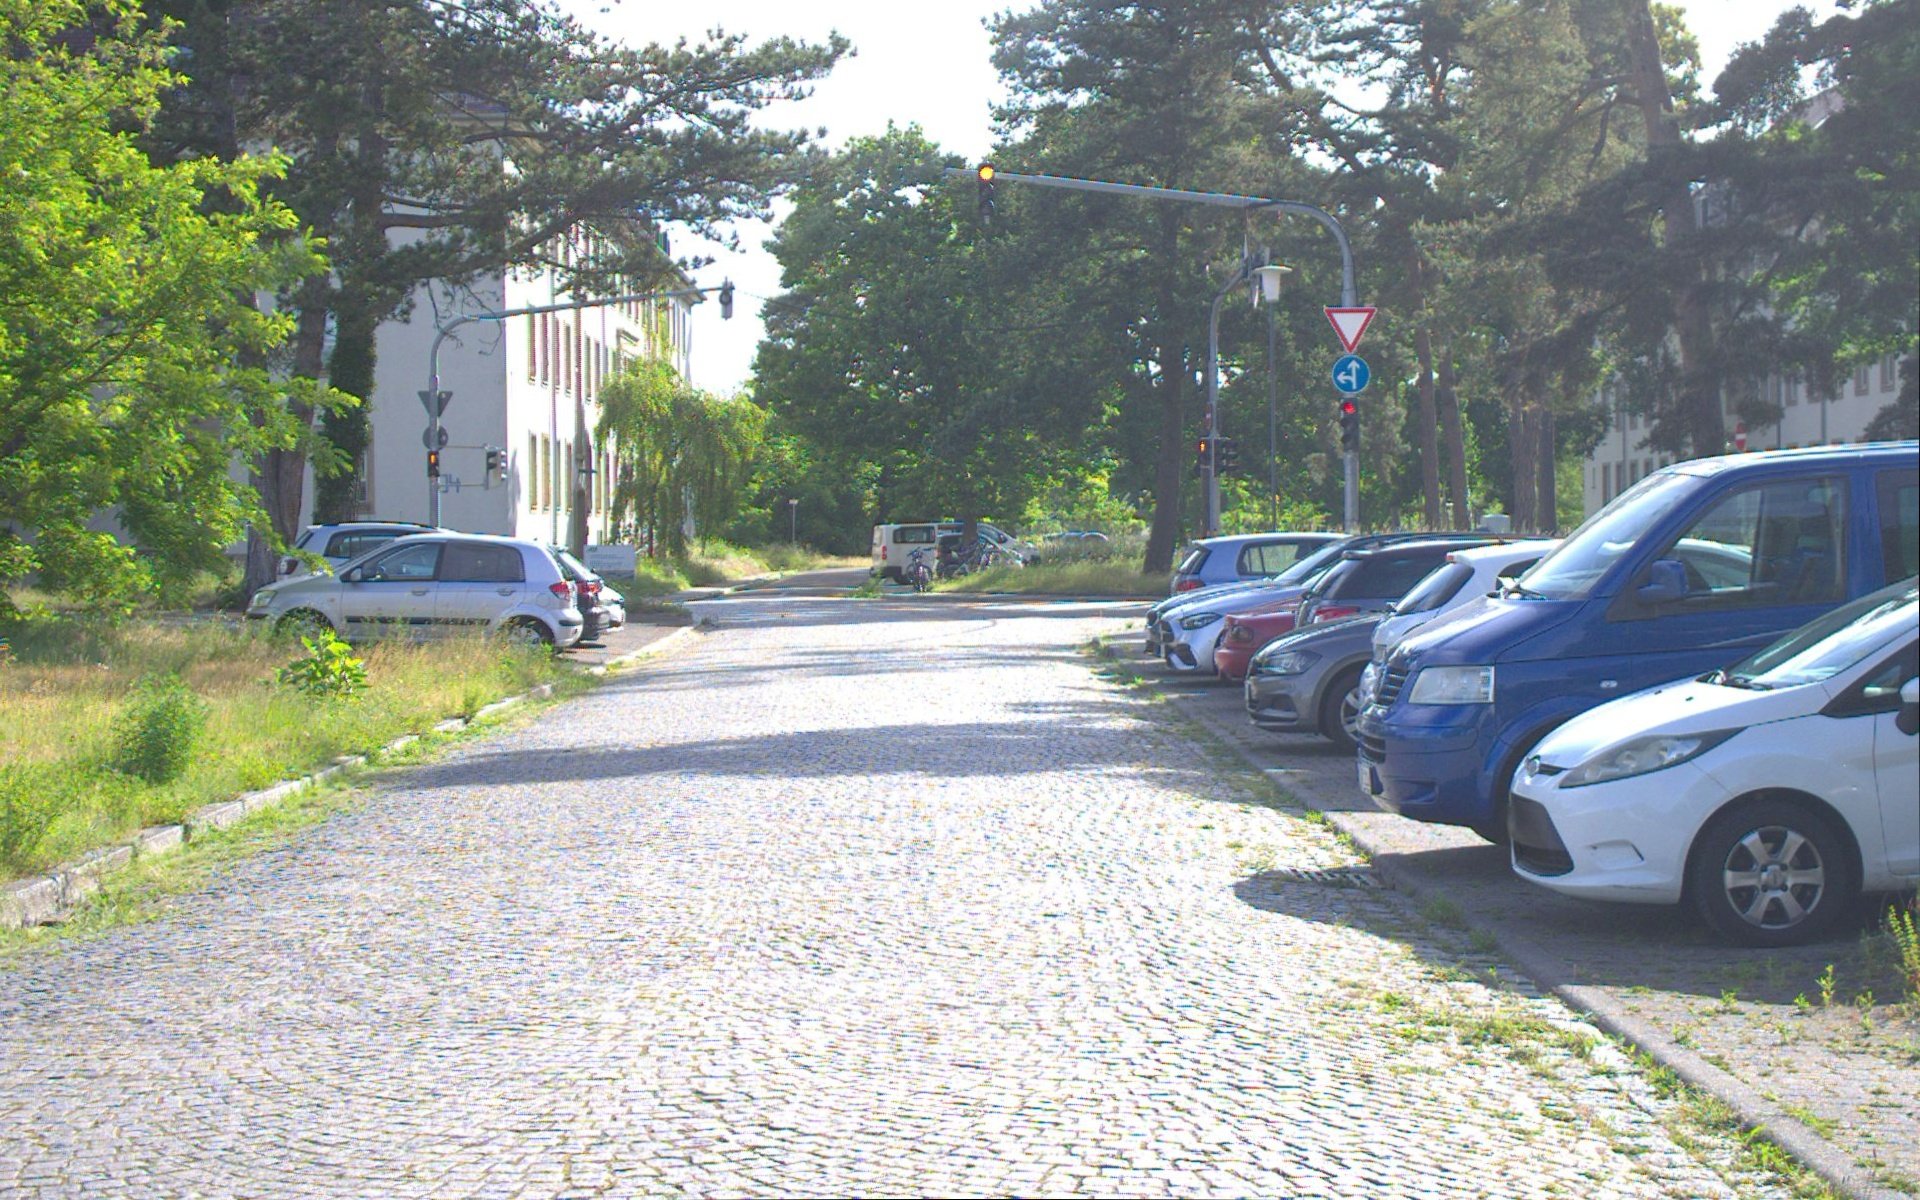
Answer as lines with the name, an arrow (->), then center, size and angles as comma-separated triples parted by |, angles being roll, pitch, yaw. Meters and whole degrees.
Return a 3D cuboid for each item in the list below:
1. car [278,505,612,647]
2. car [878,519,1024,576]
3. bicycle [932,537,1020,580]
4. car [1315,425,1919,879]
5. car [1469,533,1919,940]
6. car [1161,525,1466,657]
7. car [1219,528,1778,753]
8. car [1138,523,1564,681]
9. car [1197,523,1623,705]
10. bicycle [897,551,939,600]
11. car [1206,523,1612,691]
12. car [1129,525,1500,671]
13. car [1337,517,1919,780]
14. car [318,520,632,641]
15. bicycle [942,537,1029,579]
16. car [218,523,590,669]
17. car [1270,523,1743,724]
car -> -6.639, -0.329, 44.675 | 3.987, 1.596, 2.000 | 3, 1, -1
car -> -0.302, -1.632, 106.532 | 4.480, 1.722, 2.000 | 0, 1, -1
bicycle -> 0.404, -1.065, 89.067 | 2.172, 1.096, 0.807 | 0, 1, -10
car -> 4.190, 0.195, 16.456 | 4.676, 2.007, 2.084 | 0, 1, -3
car -> 4.054, 0.479, 13.782 | 3.718, 1.483, 1.646 | -1, 1, -3
car -> 4.091, -0.125, 40.084 | 3.343, 1.477, 1.646 | 0, 1, -2
car -> 3.777, 0.262, 24.524 | 3.675, 1.462, 1.646 | -1, 1, -2
car -> 3.902, -0.002, 34.673 | 4.033, 1.524, 1.646 | 0, 1, -4
car -> 3.899, 0.101, 30.134 | 3.478, 1.524, 1.646 | 0, 1, -2
bicycle -> -1.057, -0.617, 85.611 | 0.804, 1.165, 2.181 | -2, 1, -6
car -> 4.213, 0.044, 32.595 | 3.602, 1.524, 1.646 | 0, 1, -2
car -> 3.818, -0.041, 37.444 | 3.835, 1.524, 1.646 | 0, 1, -2
car -> 4.328, 0.276, 21.637 | 3.694, 1.460, 1.645 | -2, 1, 0
car -> -6.596, -0.282, 47.078 | 3.987, 1.448, 2.000 | 3, 1, -1
bicycle -> 0.672, -1.097, 90.149 | 2.172, 1.096, 0.807 | 0, 1, -10
car -> -6.294, -0.066, 39.290 | 3.986, 1.595, 2.000 | 0, 1, -3
car -> 4.312, 0.162, 27.443 | 3.478, 1.524, 1.646 | 0, 1, -2
